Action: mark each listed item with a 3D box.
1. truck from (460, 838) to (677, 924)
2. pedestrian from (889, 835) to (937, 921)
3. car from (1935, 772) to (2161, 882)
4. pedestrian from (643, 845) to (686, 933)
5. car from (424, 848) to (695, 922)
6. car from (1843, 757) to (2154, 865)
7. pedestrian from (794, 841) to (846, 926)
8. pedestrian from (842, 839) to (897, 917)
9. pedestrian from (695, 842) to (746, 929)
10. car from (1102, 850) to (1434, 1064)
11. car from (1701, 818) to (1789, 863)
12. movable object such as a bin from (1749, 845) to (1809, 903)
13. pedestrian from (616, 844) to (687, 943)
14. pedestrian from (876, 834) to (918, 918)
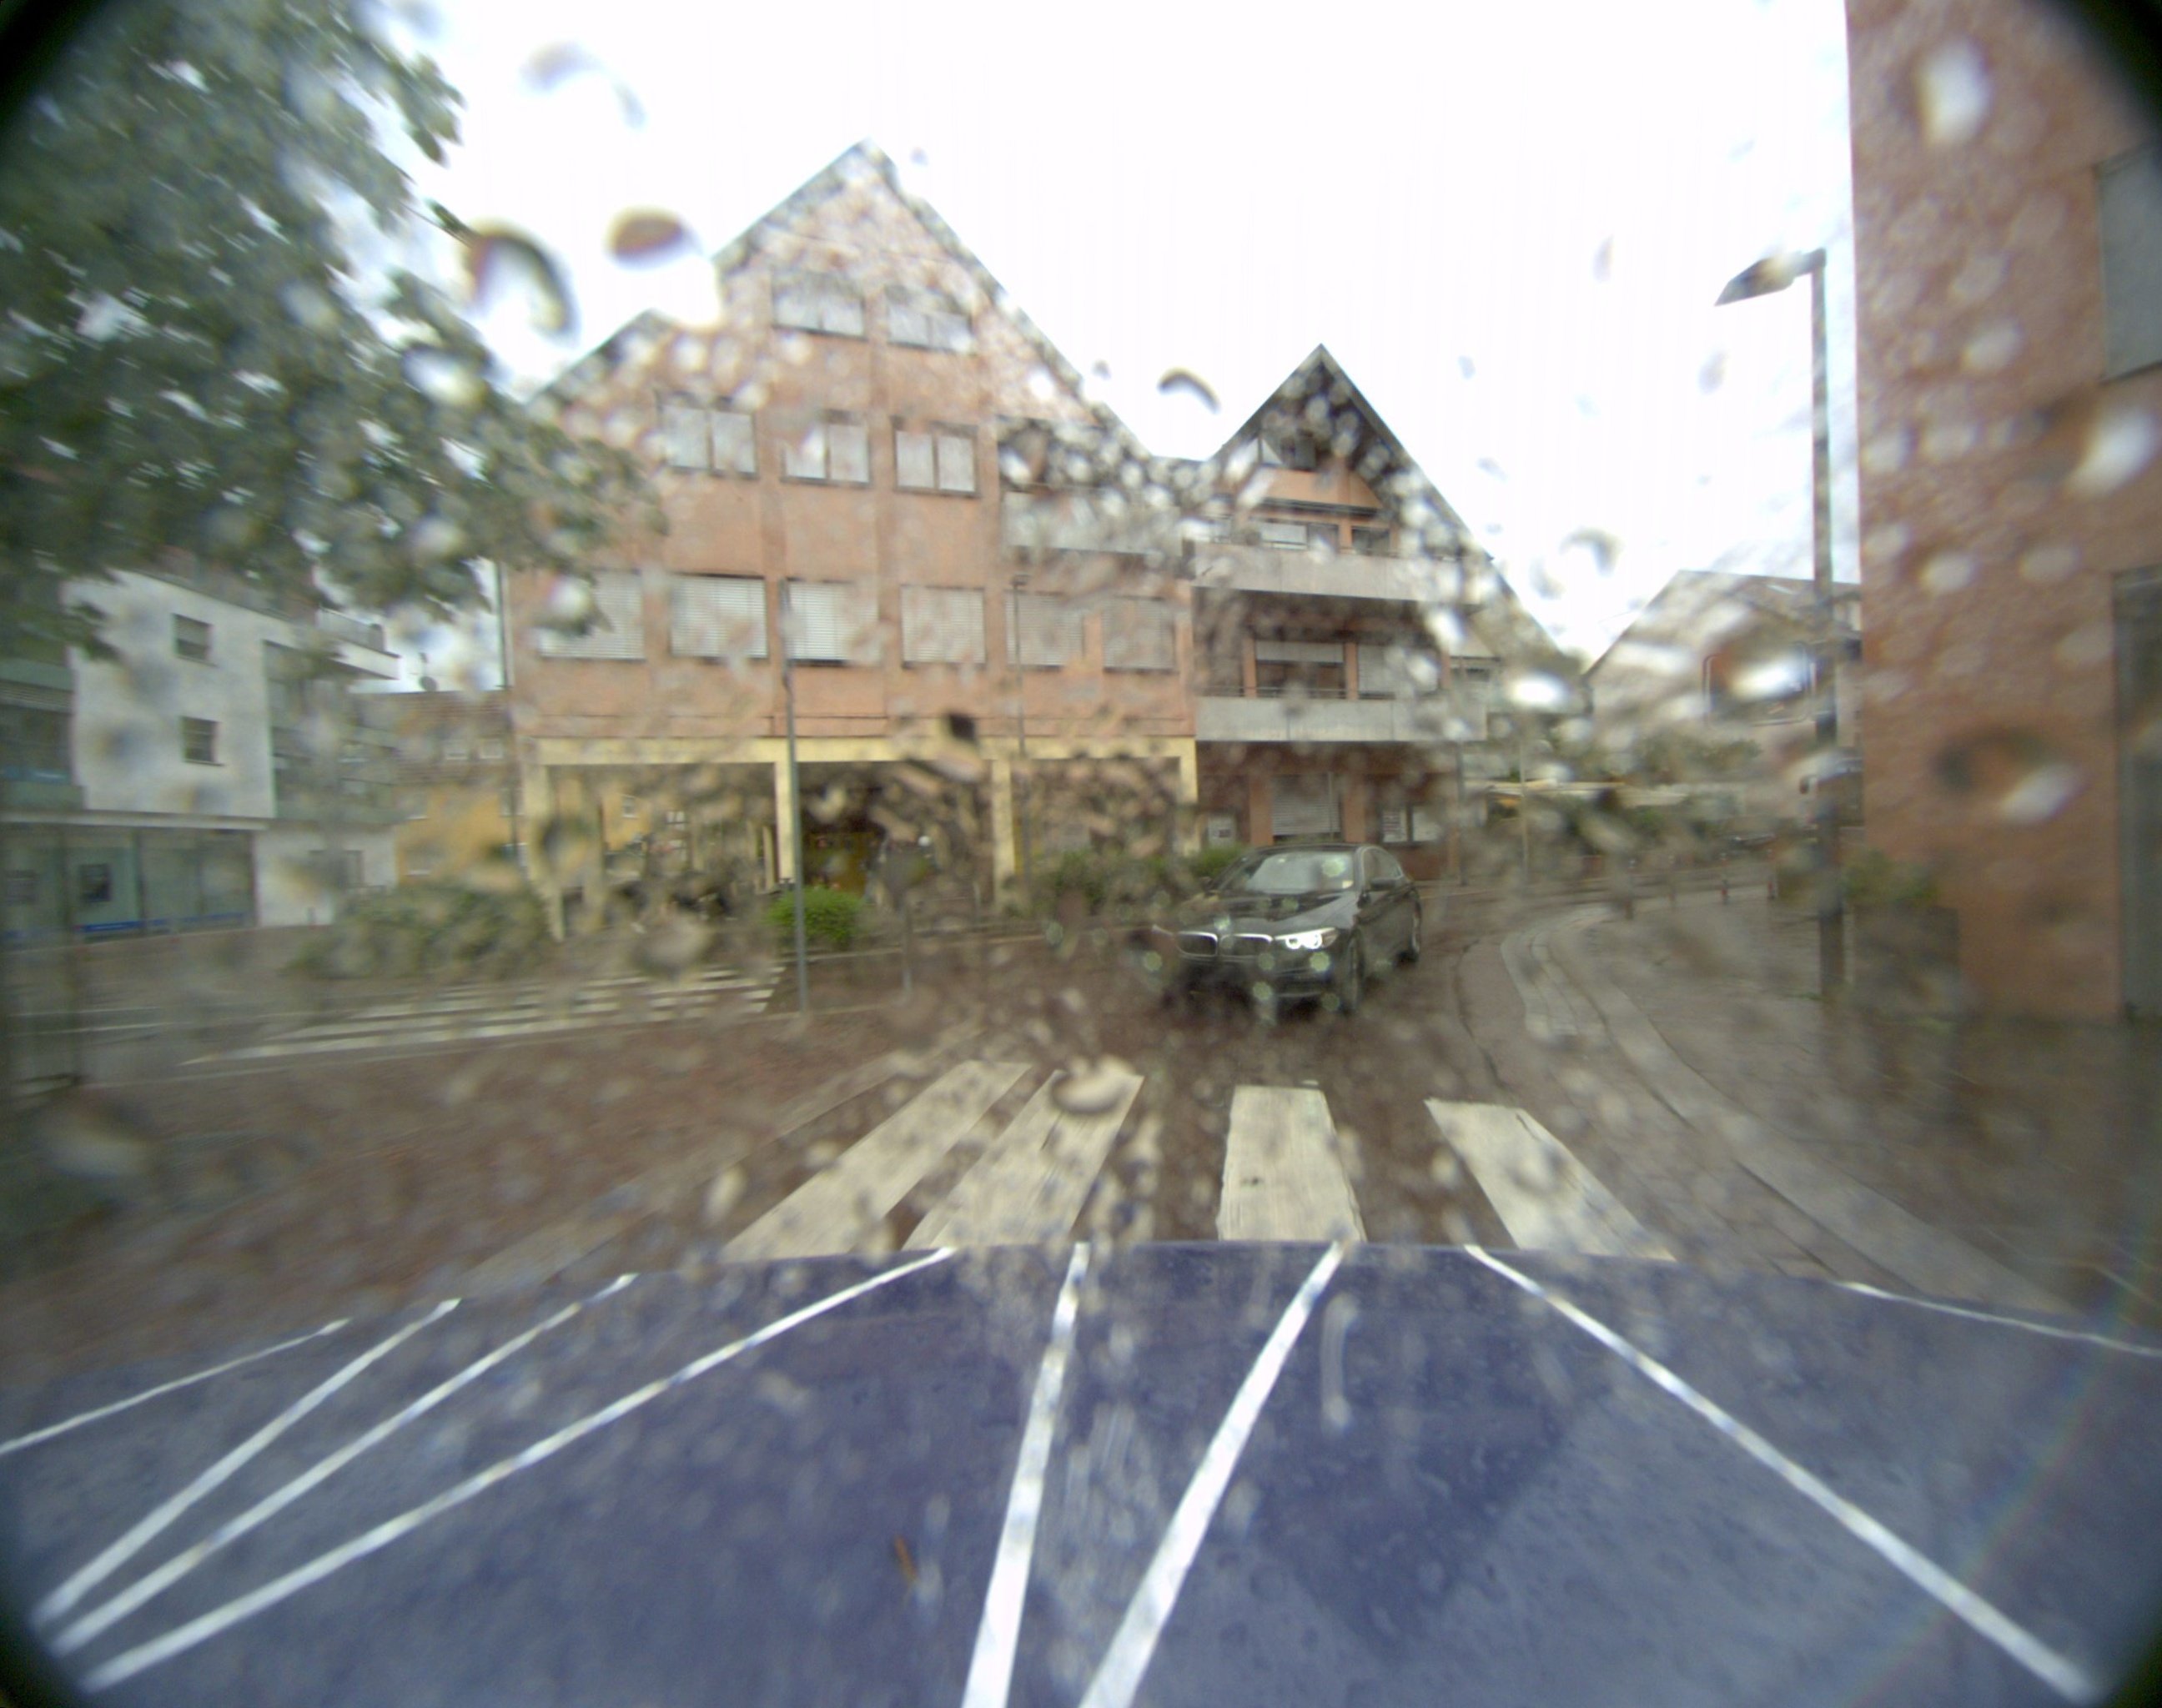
[{"bbox_3d":[-12.470,0.600,18.805,4.002,1.798,1.766,-3,2,-16],"label":"truck"},{"bbox_3d":[-3.371,0.469,15.293,0.821,1.652,0.697,-3,2,-10],"label":"pedestrian"},{"bbox_3d":[22.818,-0.680,17.634,5.866,2.227,1.996,-3,2,-20],"label":"car"},{"bbox_3d":[-8.118,0.665,14.832,0.521,1.654,0.541,-3,2,-14],"label":"pedestrian"},{"bbox_3d":[-11.102,0.606,16.570,4.473,1.269,1.766,-3,2,-16],"label":"car"},{"bbox_3d":[27.486,-1.284,22.766,8.850,2.857,2.708,-2,1,-17],"label":"car"},{"bbox_3d":[-5.231,0.571,15.254,0.825,1.596,0.743,-2,4,-11],"label":"pedestrian"},{"bbox_3d":[-4.511,0.506,16.245,0.707,1.610,0.798,-2,2,23],"label":"pedestrian"},{"bbox_3d":[-7.270,0.623,15.357,0.743,1.680,0.635,-3,2,-15],"label":"pedestrian"},{"bbox_3d":[2.254,0.761,8.039,1.943,1.395,4.427,1,4,35],"label":"car"},{"bbox_3d":[22.577,-0.481,25.793,3.943,1.349,1.734,-4,2,-41],"label":"car"},{"bbox_3d":[13.099,0.362,14.265,0.611,1.031,0.657,-4,2,-28],"label":"movable object such as a bin"},{"bbox_3d":[-7.931,0.709,14.078,0.893,1.739,0.734,-3,2,-16],"label":"pedestrian"},{"bbox_3d":[-3.843,0.440,15.848,0.733,1.680,0.724,-3,2,-15],"label":"pedestrian"}]
